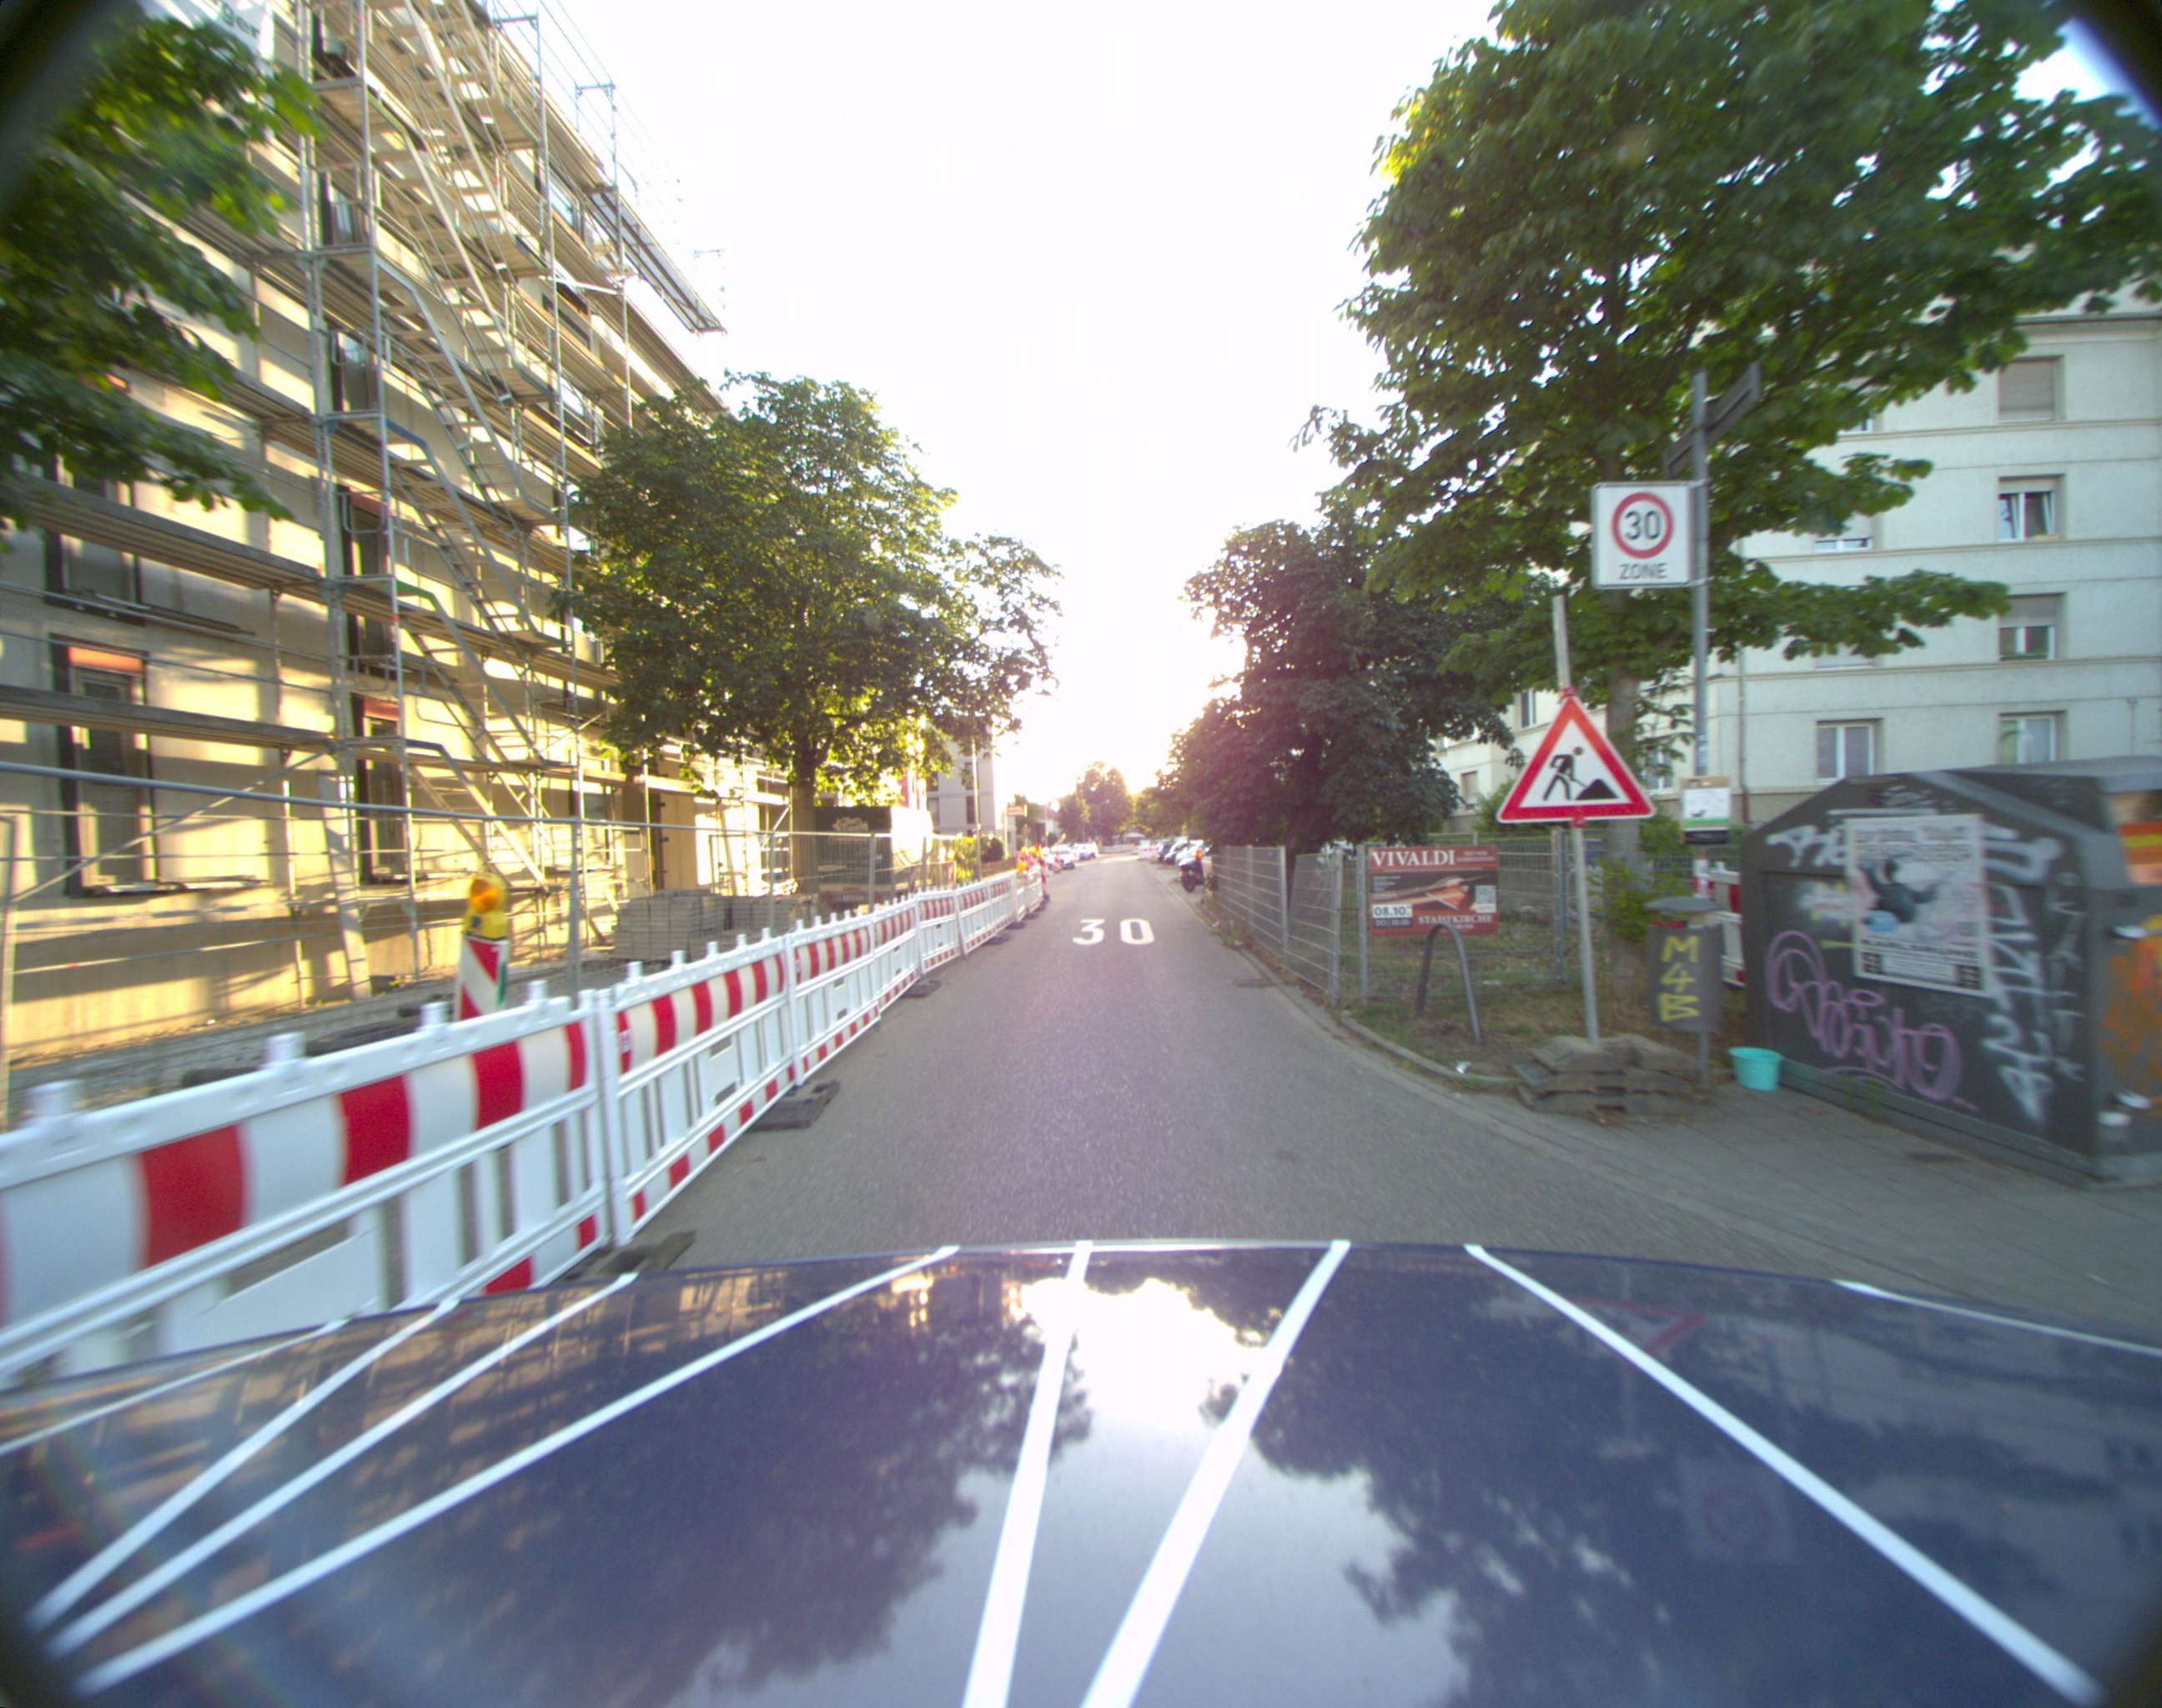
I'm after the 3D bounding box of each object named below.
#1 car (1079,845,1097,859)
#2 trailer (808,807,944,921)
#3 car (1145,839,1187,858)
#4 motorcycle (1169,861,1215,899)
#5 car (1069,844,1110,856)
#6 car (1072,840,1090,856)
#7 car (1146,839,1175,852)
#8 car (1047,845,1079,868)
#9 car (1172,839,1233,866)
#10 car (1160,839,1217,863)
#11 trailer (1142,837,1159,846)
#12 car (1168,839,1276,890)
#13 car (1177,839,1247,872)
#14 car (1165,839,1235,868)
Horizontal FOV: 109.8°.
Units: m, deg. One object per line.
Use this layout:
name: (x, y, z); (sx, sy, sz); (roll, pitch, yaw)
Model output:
car: (0.807, -0.195, 84.252); (1.744, 1.461, 3.759); (-2, 1, 4)
trailer: (-5.031, 0.205, 19.346); (1.998, 2.525, 4.187); (-2, 1, 4)
car: (7.903, -0.508, 71.068); (3.708, 1.475, 1.728); (-4, 1, 1)
motorcycle: (3.622, 0.814, 24.625); (0.538, 1.015, 2.215); (-4, 1, 32)
car: (1.040, -0.520, 91.990); (4.829, 1.390, 1.770); (-1, 0, 4)
car: (-0.003, -0.564, 73.444); (1.618, 1.461, 3.996); (-2, 1, 1)
car: (13.564, -1.503, 129.683); (4.784, 2.058, 2.001); (-2, 1, 8)
car: (-1.175, 0.121, 50.585); (1.780, 1.389, 4.107); (-2, 1, 3)
car: (7.760, -0.132, 48.869); (3.685, 1.476, 1.728); (-3, 2, 6)
car: (7.243, -0.212, 51.647); (3.685, 1.437, 1.728); (-3, 2, 5)
trailer: (17.591, -3.219, 192.157); (3.682, 2.057, 2.002); (-3, 1, 17)
car: (5.174, 0.362, 28.223); (3.632, 1.548, 1.693); (-5, 1, 3)
car: (7.199, 0.061, 41.973); (3.484, 1.557, 1.727); (-3, 2, -2)
car: (7.140, -0.033, 45.870); (3.986, 1.481, 1.728); (-3, 2, 5)
